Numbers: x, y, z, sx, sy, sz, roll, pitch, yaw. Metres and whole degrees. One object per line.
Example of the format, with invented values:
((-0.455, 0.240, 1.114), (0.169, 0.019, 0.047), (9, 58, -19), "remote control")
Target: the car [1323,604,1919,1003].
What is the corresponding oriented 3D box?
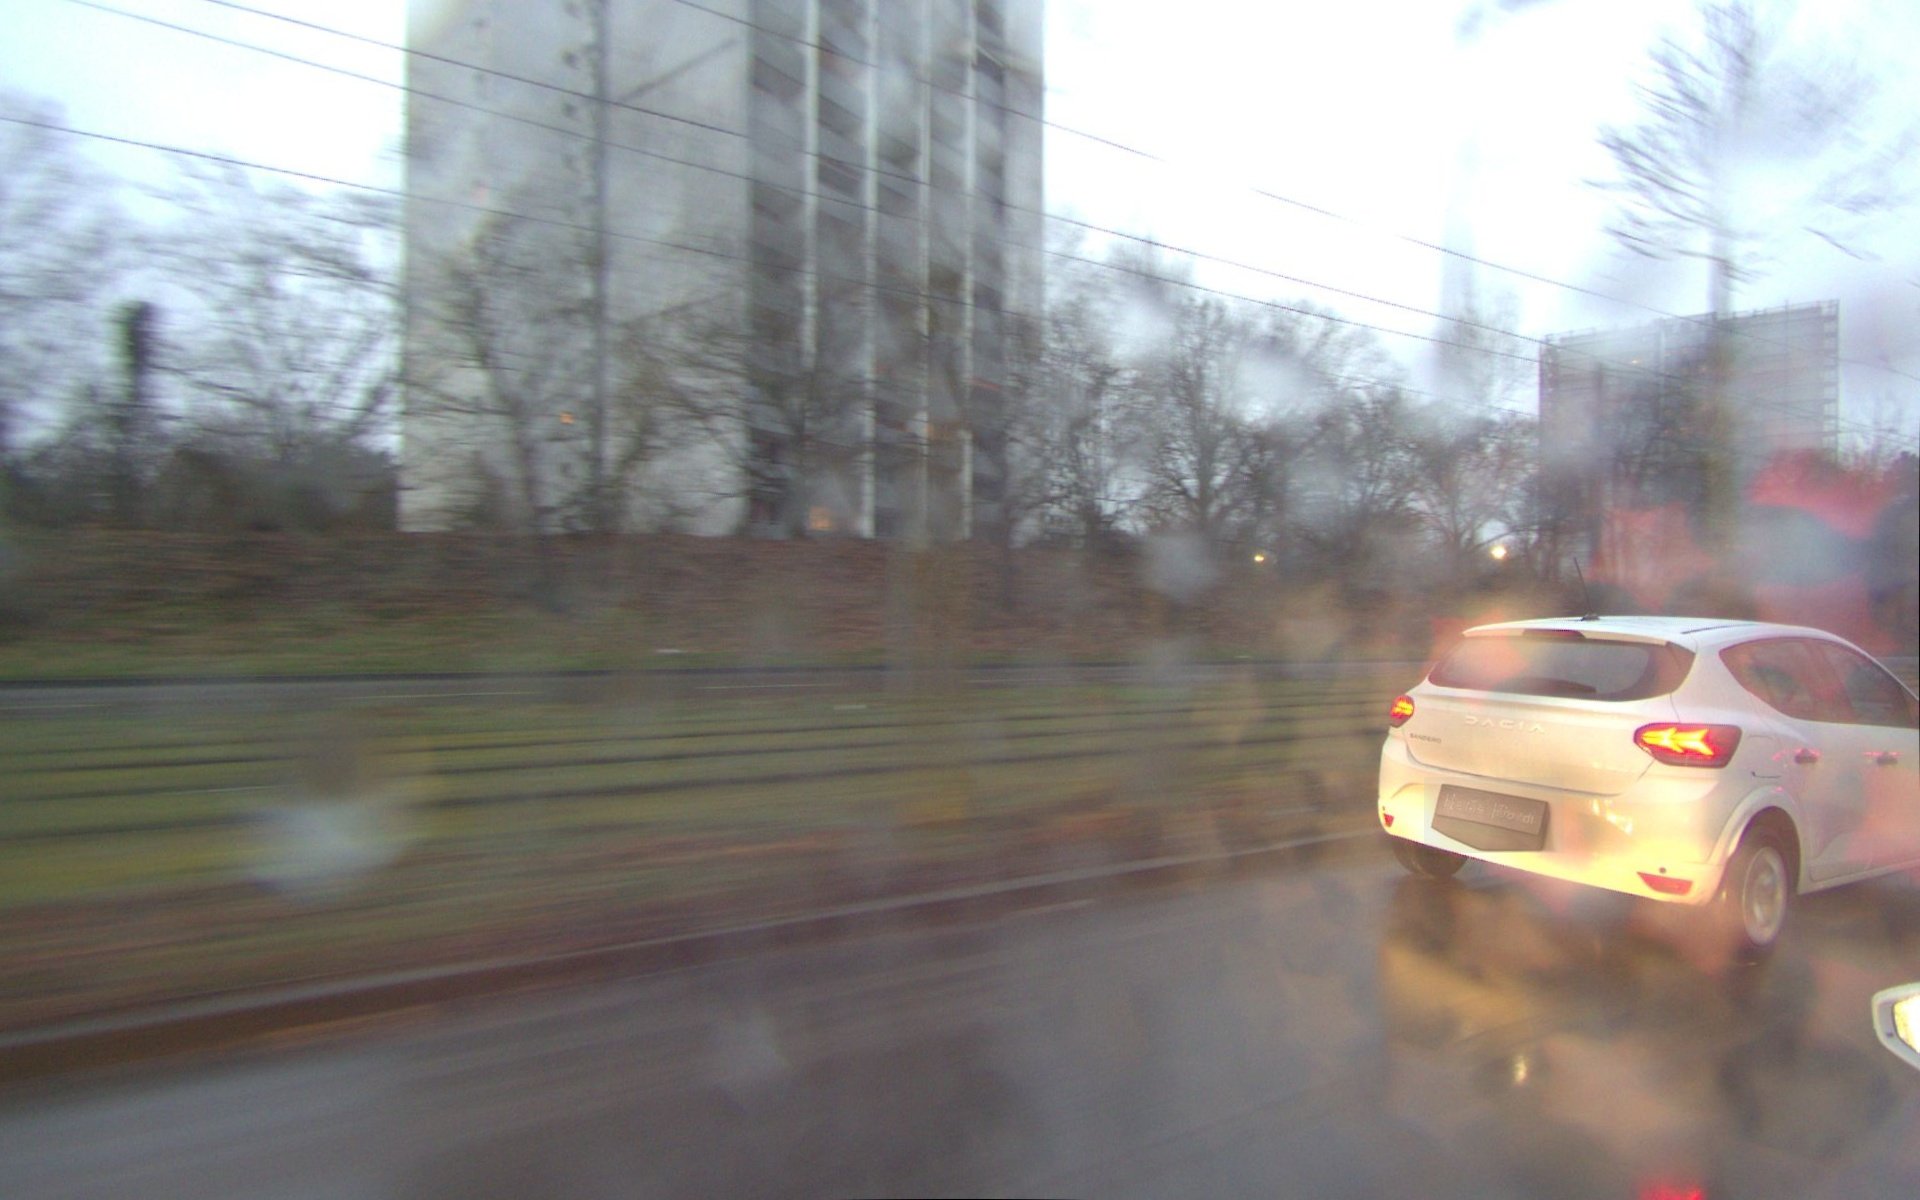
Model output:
((4.137, 0.832, 5.635), (4.084, 1.545, 1.701), (1, -1, -29), "car")
